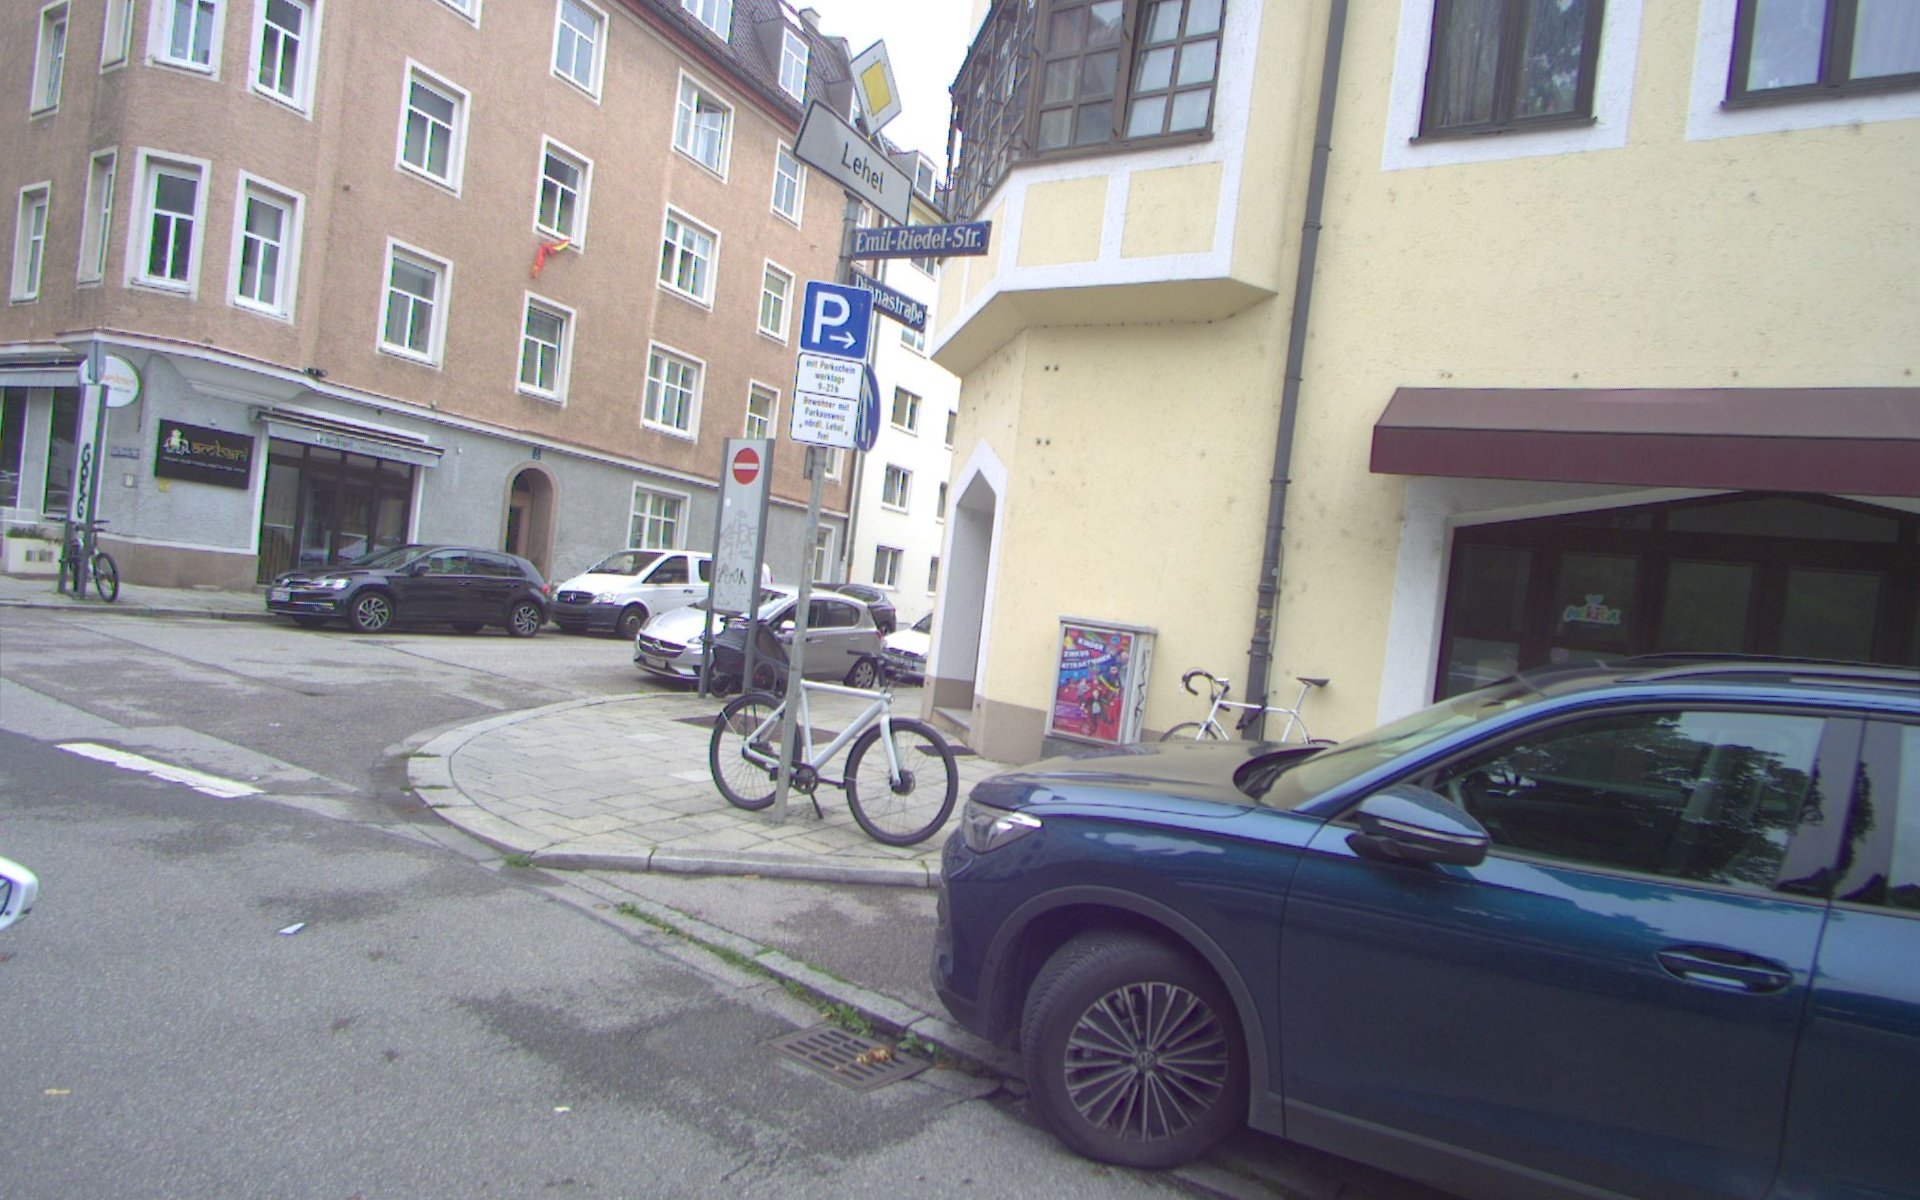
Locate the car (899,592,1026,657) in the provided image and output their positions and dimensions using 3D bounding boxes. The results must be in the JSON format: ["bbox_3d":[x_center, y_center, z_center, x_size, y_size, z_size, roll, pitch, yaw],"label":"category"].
[{"bbox_3d":[0.167,0.815,32.166,2.064,1.707,4.355,5,-1,30],"label":"car"}]

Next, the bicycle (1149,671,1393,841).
[{"bbox_3d":[2.335,1.150,7.675,1.656,0.989,0.271,7,0,30],"label":"bicycle"}]

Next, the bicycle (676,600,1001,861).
[{"bbox_3d":[-0.794,0.727,6.164,1.963,1.222,0.514,7,0,32],"label":"bicycle"}]

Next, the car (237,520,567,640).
[{"bbox_3d":[-8.704,-0.240,16.086,1.893,1.446,4.177,5,-1,30],"label":"car"}]

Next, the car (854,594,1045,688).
[{"bbox_3d":[-0.095,0.830,19.120,1.717,1.394,3.812,9,1,32],"label":"car"}]

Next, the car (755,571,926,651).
[{"bbox_3d":[-3.036,0.352,26.659,2.064,1.707,4.616,5,-1,30],"label":"car"}]

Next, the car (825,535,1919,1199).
[{"bbox_3d":[1.990,0.901,2.903,4.435,1.701,1.820,7,1,31],"label":"car"}]

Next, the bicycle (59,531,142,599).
[{"bbox_3d":[-12.201,-0.502,14.276,1.304,0.815,0.457,7,0,32],"label":"bicycle"}]

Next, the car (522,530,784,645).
[{"bbox_3d":[-6.209,-0.171,21.096,2.064,1.876,5.136,5,-1,30],"label":"car"}]

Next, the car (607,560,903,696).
[{"bbox_3d":[-2.751,0.465,14.409,1.717,1.475,4.042,9,1,32],"label":"car"}]
